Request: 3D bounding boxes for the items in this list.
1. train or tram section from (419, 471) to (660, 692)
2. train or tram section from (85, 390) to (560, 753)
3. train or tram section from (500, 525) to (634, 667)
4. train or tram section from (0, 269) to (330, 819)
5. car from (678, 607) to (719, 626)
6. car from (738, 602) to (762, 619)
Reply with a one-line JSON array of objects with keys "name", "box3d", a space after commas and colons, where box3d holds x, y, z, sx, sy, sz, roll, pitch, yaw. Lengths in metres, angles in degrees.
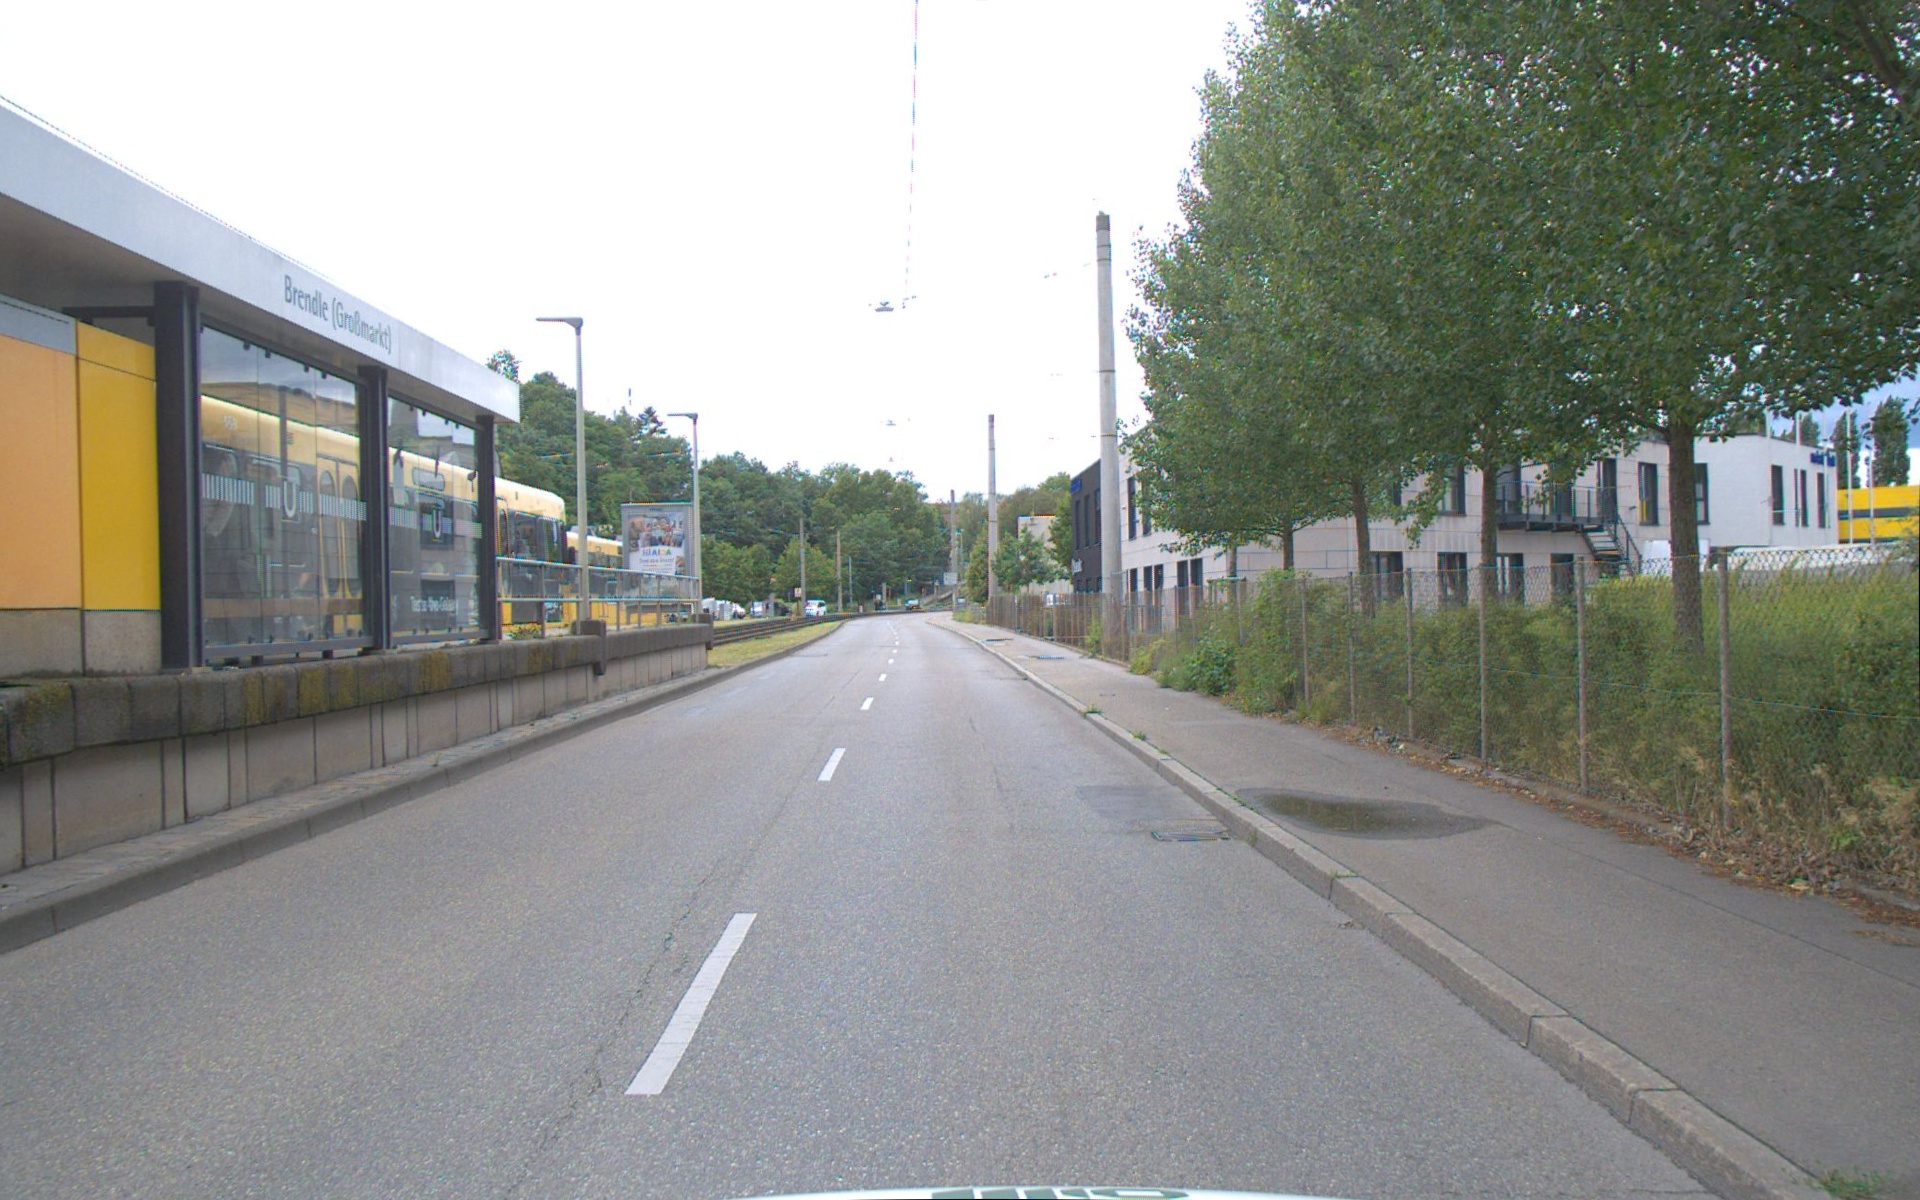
[{"name": "train or tram section", "box3d": [-8.942, -0.400, 36.654, 2.912, 4.136, 10.193, -2, 1, -2]}, {"name": "train or tram section", "box3d": [-8.666, -0.384, 24.713, 2.685, 4.035, 11.908, -2, 1, -2]}, {"name": "train or tram section", "box3d": [-11.759, -0.073, 50.226, 1.953, 3.862, 9.176, -2, -1, -1]}, {"name": "train or tram section", "box3d": [-8.387, -0.394, 12.785, 2.685, 4.035, 11.908, -2, 1, -2]}, {"name": "car", "box3d": [-27.353, 1.762, 173.055, 3.903, 1.736, 1.834, -2, -4, 4]}, {"name": "car", "box3d": [-25.290, 1.323, 199.339, 1.789, 1.736, 4.145, -2, -4, 8]}]
